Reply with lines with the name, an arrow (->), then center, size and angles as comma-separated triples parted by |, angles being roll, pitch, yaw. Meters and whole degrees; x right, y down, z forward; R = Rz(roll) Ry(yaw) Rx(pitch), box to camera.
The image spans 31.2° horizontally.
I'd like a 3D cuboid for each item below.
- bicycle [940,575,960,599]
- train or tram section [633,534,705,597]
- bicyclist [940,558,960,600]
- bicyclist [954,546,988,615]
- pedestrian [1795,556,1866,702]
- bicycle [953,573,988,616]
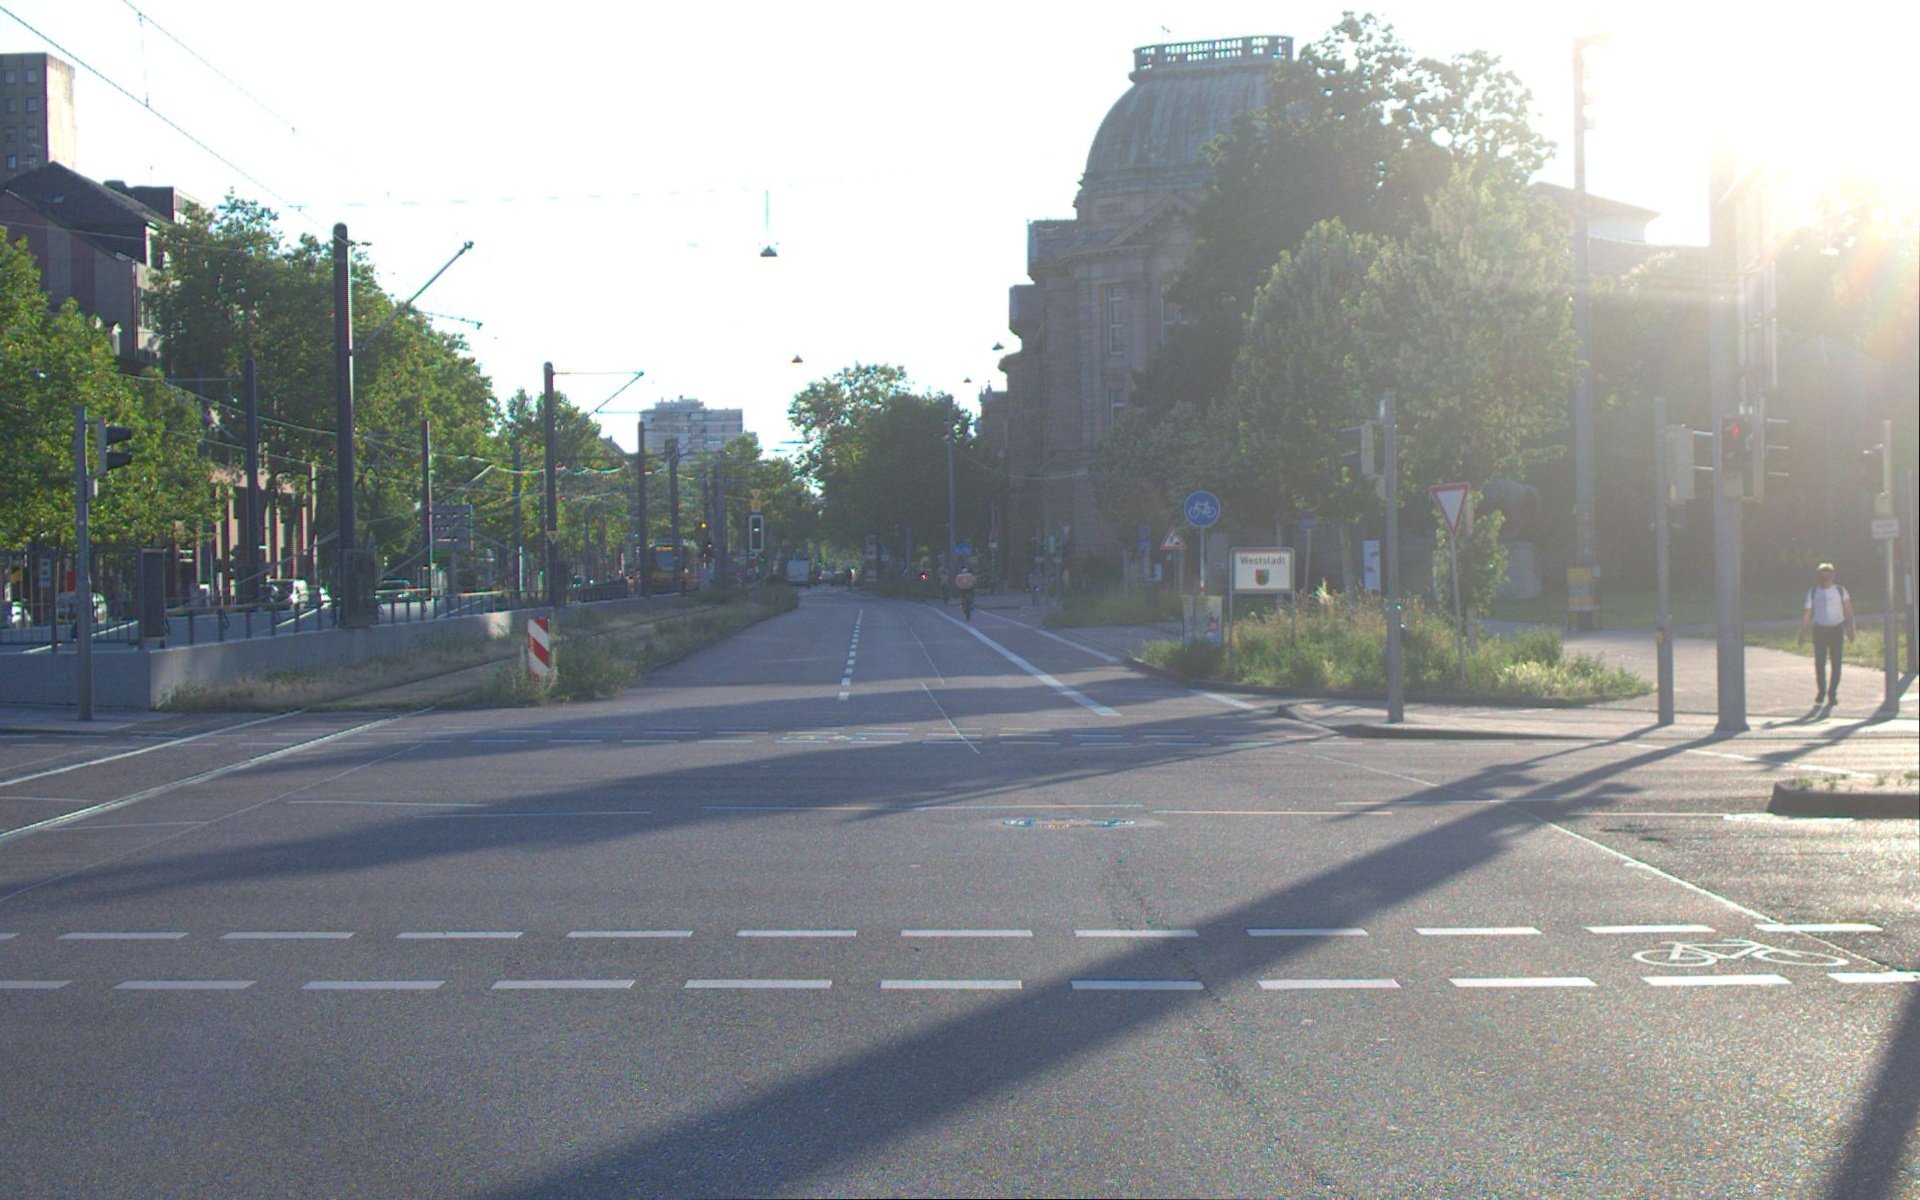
bicycle -> -0.477, -0.618, 165.102 | 0.924, 1.108, 2.333 | -1, 0, -1
train or tram section -> -18.459, -2.192, 218.145 | 4.385, 3.837, 11.411 | -1, 1, -5
bicyclist -> -0.483, -1.022, 165.072 | 0.925, 2.007, 0.850 | -1, 0, -1
bicyclist -> 0.363, -0.636, 114.196 | 1.082, 2.268, 0.986 | 0, 0, -1
pedestrian -> 10.825, 0.356, 42.733 | 0.833, 1.797, 0.810 | -1, 0, 15
bicycle -> 0.356, -0.202, 114.261 | 1.098, 1.394, 2.832 | -1, 0, -1
